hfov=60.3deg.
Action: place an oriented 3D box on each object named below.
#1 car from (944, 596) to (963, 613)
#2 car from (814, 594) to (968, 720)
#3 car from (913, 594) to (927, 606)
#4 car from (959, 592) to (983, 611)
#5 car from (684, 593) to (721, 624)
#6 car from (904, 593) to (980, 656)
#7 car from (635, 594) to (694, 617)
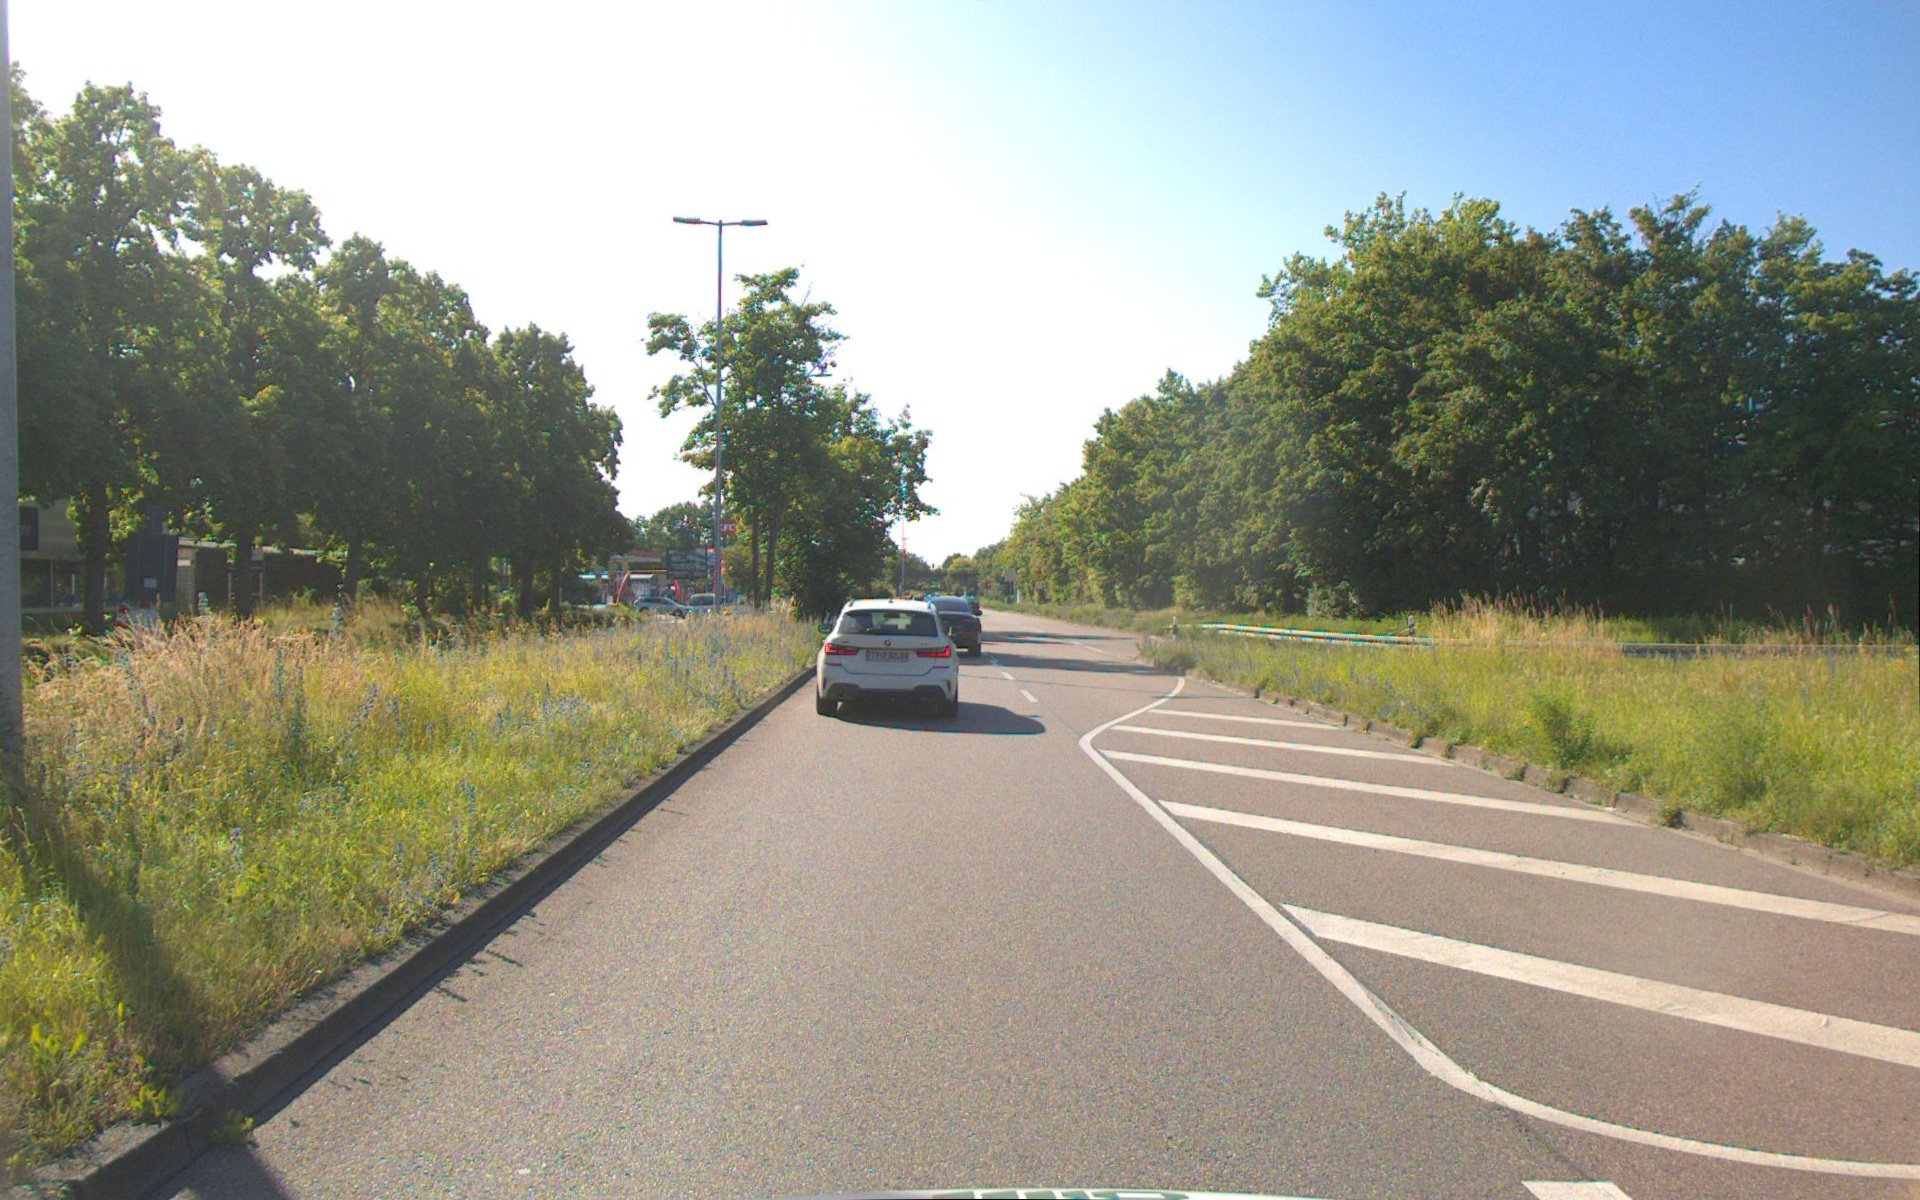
[{"bbox_3d":[-0.665,0.449,164.086,1.736,1.583,3.831,0,0,-3],"label":"car"},{"bbox_3d":[-0.871,0.678,22.133,1.824,1.480,4.546,1,0,-1],"label":"car"},{"bbox_3d":[-5.372,-0.013,220.388,1.824,1.592,4.546,0,0,-2],"label":"car"},{"bbox_3d":[0.866,0.093,134.170,1.824,1.525,4.335,0,0,-2],"label":"car"},{"bbox_3d":[-14.869,0.476,95.692,1.672,1.777,4.163,0,0,-3],"label":"car"},{"bbox_3d":[-0.511,0.583,42.463,1.824,1.480,4.546,-1,0,-2],"label":"car"},{"bbox_3d":[-22.605,0.441,126.479,4.022,1.691,1.894,-1,0,8],"label":"car"}]
